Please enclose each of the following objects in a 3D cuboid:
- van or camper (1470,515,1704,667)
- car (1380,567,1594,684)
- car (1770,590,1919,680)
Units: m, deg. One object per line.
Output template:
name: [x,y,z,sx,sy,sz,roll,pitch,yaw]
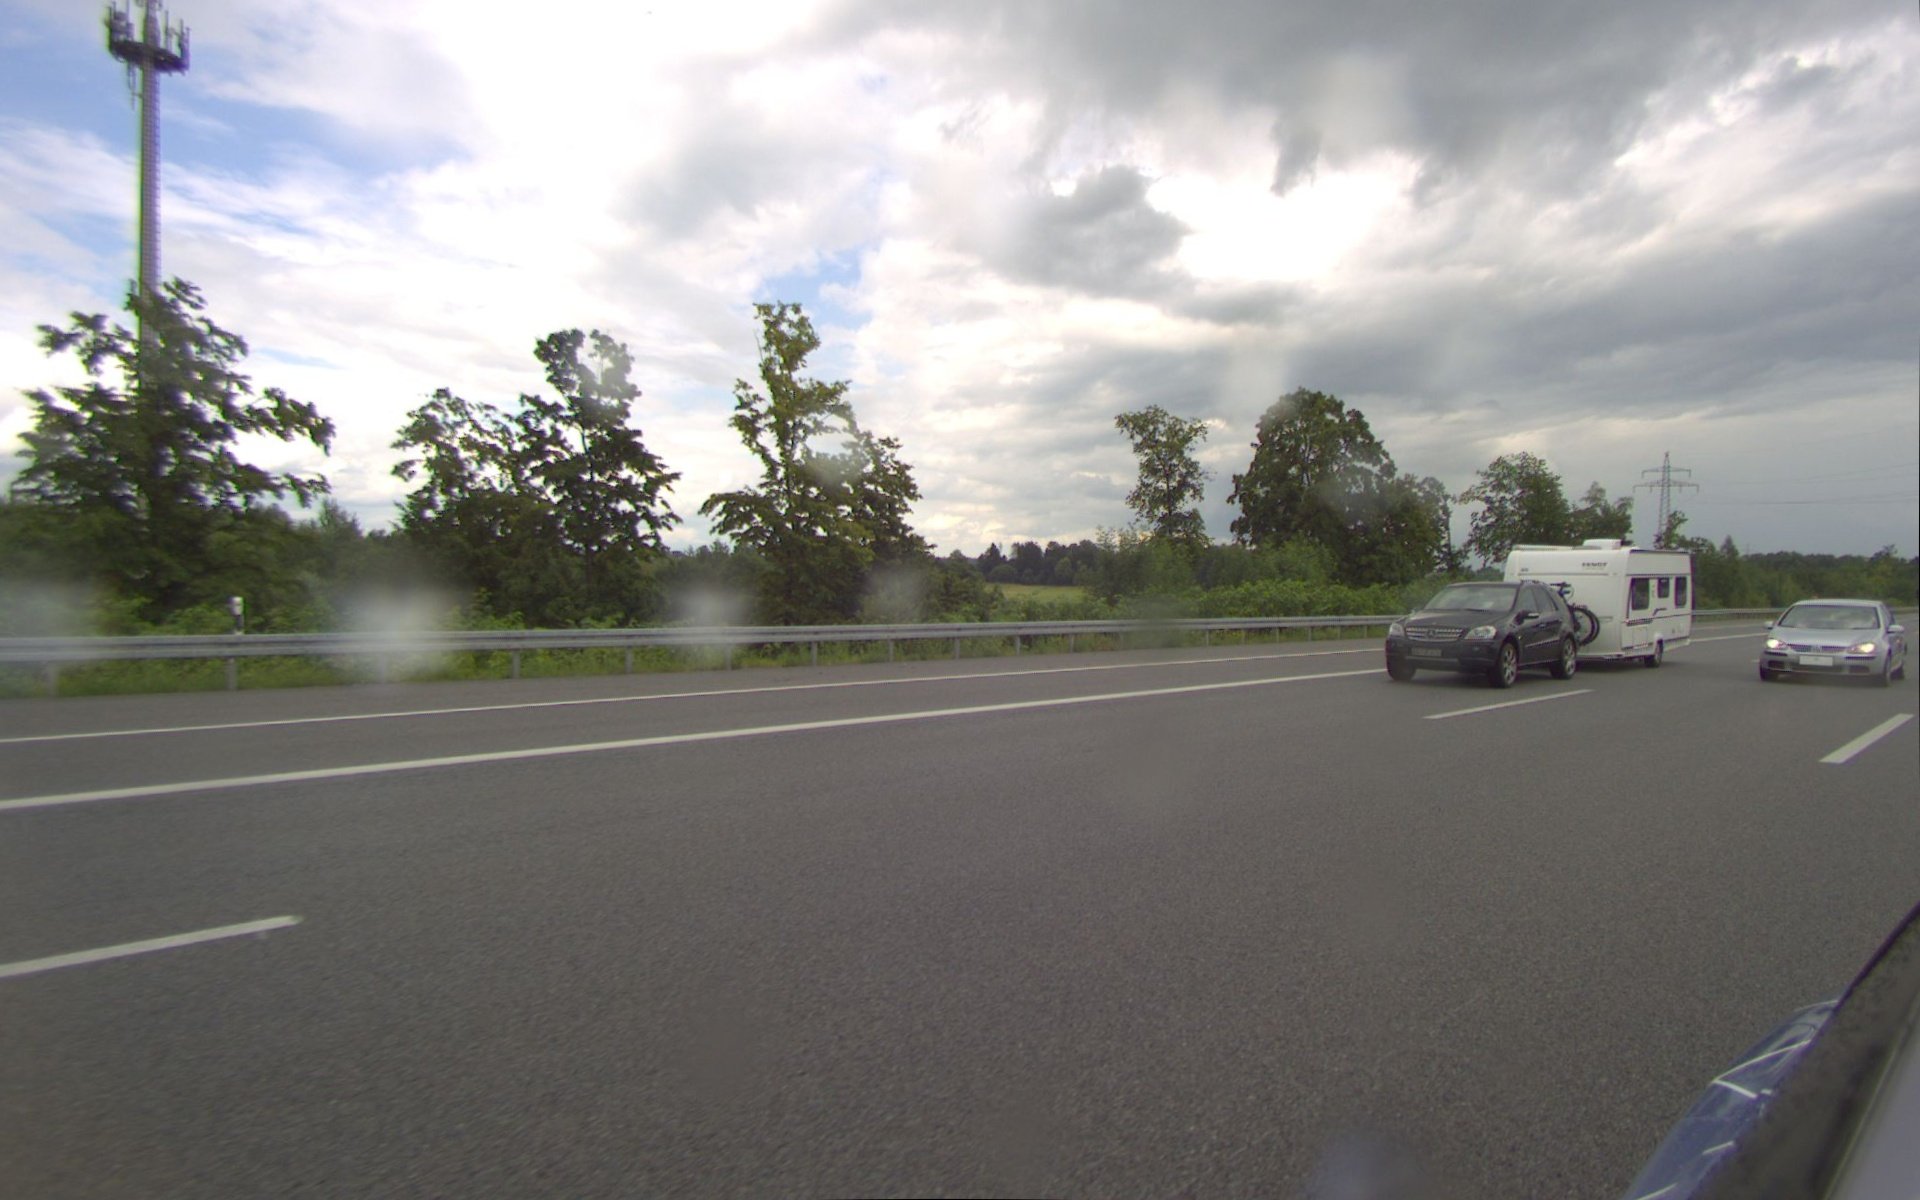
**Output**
van or camper: [13.634,-0.192,21.728,7.084,2.773,2.388,0,0,-42]
car: [9.360,0.373,17.824,4.425,1.798,1.923,0,1,-42]
car: [16.281,0.567,18.505,3.931,1.464,1.682,0,1,-42]
